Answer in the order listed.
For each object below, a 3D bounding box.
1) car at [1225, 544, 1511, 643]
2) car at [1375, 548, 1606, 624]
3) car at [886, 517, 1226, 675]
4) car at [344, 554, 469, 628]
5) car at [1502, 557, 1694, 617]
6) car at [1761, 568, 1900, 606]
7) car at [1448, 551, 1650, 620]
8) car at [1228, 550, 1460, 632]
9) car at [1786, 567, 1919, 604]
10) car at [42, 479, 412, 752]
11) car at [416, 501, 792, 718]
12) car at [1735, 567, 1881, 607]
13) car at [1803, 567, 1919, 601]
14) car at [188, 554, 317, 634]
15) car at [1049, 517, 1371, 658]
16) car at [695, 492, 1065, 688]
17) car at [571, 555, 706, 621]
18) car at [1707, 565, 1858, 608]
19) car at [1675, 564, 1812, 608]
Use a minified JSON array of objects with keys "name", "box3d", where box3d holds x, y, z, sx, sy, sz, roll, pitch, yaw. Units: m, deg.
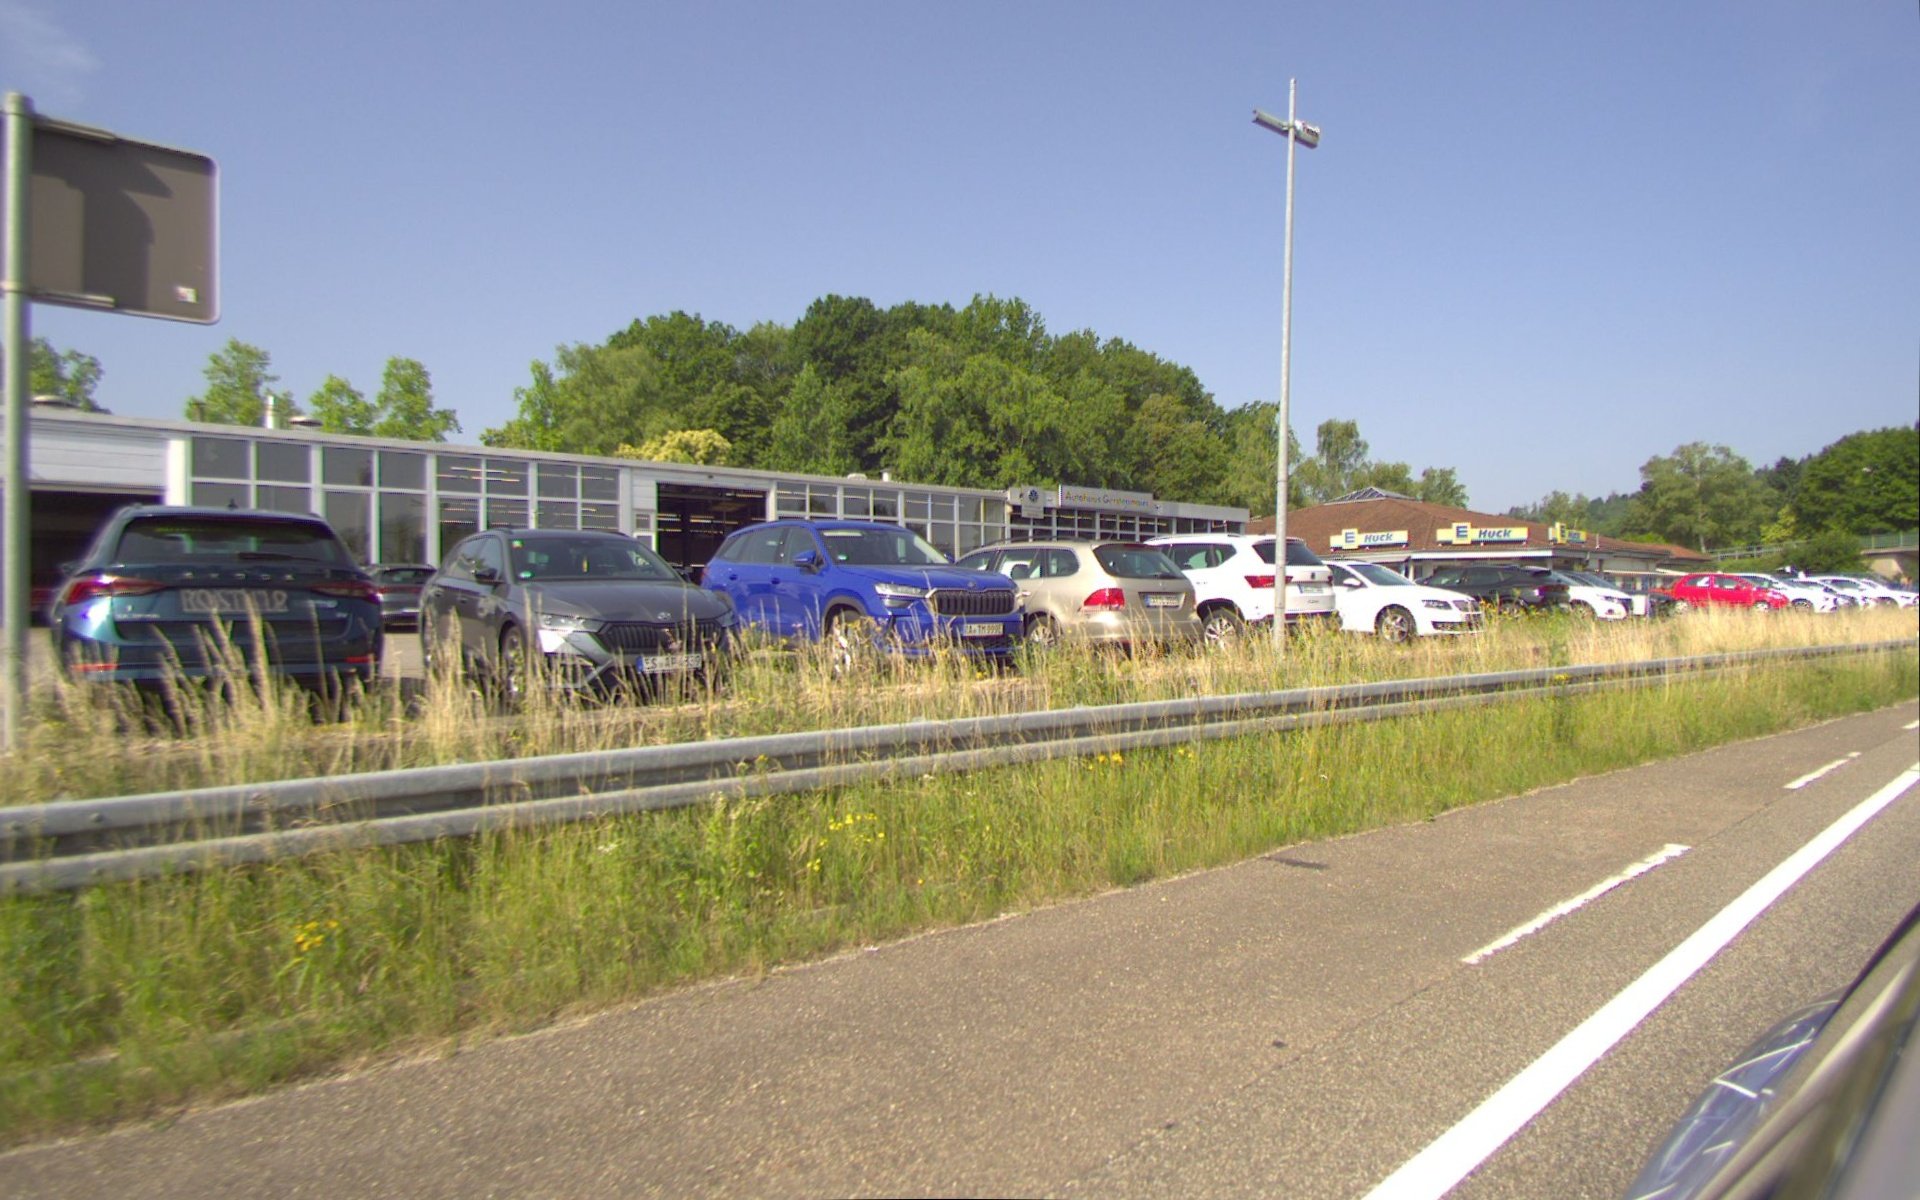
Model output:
[{"name":"car","box3d":[7.012,-0.172,17.815,1.845,1.513,4.362,-1,2,-37]},{"name":"car","box3d":[12.091,-0.359,23.271,1.997,1.571,4.291,-1,2,-41]},{"name":"car","box3d":[0.952,-0.101,11.962,1.772,1.526,4.052,-1,2,-36]},{"name":"car","box3d":[-12.374,-0.244,22.479,1.758,1.482,4.321,-1,2,-38]},{"name":"car","box3d":[17.097,-0.389,27.261,1.843,1.482,3.998,-1,2,-37]},{"name":"car","box3d":[35.183,-0.564,40.981,1.843,1.482,3.998,-1,2,-37]},{"name":"car","box3d":[14.617,-0.398,25.308,1.773,1.571,3.998,-1,2,-37]},{"name":"car","box3d":[7.728,-0.230,20.642,1.847,1.513,4.052,-1,2,-41]},{"name":"car","box3d":[38.322,-0.666,43.104,1.843,1.482,4.573,-1,2,-37]},{"name":"car","box3d":[-5.373,0.049,7.368,1.747,1.446,3.741,-1,1,-40]},{"name":"car","box3d":[-3.346,0.027,9.032,1.916,1.470,3.995,-1,1,-40]},{"name":"car","box3d":[32.541,-0.539,38.911,1.843,1.482,3.998,-1,2,-37]},{"name":"car","box3d":[40.954,-0.734,45.374,1.843,1.482,4.573,-1,2,-37]},{"name":"car","box3d":[-14.721,-0.176,20.968,1.760,1.482,4.318,-1,2,-41]},{"name":"car","box3d":[3.256,-0.208,13.889,1.845,1.637,4.058,-1,2,-36]},{"name":"car","box3d":[-1.067,-0.123,10.915,1.915,1.660,4.367,-1,1,-38]},{"name":"car","box3d":[-8.261,-0.342,25.788,1.759,1.544,4.318,-1,2,-40]},{"name":"car","box3d":[30.165,-0.542,37.194,1.843,1.482,3.998,-1,2,-37]},{"name":"car","box3d":[27.875,-0.517,36.093,1.772,1.482,3.547,-1,2,-38]}]
